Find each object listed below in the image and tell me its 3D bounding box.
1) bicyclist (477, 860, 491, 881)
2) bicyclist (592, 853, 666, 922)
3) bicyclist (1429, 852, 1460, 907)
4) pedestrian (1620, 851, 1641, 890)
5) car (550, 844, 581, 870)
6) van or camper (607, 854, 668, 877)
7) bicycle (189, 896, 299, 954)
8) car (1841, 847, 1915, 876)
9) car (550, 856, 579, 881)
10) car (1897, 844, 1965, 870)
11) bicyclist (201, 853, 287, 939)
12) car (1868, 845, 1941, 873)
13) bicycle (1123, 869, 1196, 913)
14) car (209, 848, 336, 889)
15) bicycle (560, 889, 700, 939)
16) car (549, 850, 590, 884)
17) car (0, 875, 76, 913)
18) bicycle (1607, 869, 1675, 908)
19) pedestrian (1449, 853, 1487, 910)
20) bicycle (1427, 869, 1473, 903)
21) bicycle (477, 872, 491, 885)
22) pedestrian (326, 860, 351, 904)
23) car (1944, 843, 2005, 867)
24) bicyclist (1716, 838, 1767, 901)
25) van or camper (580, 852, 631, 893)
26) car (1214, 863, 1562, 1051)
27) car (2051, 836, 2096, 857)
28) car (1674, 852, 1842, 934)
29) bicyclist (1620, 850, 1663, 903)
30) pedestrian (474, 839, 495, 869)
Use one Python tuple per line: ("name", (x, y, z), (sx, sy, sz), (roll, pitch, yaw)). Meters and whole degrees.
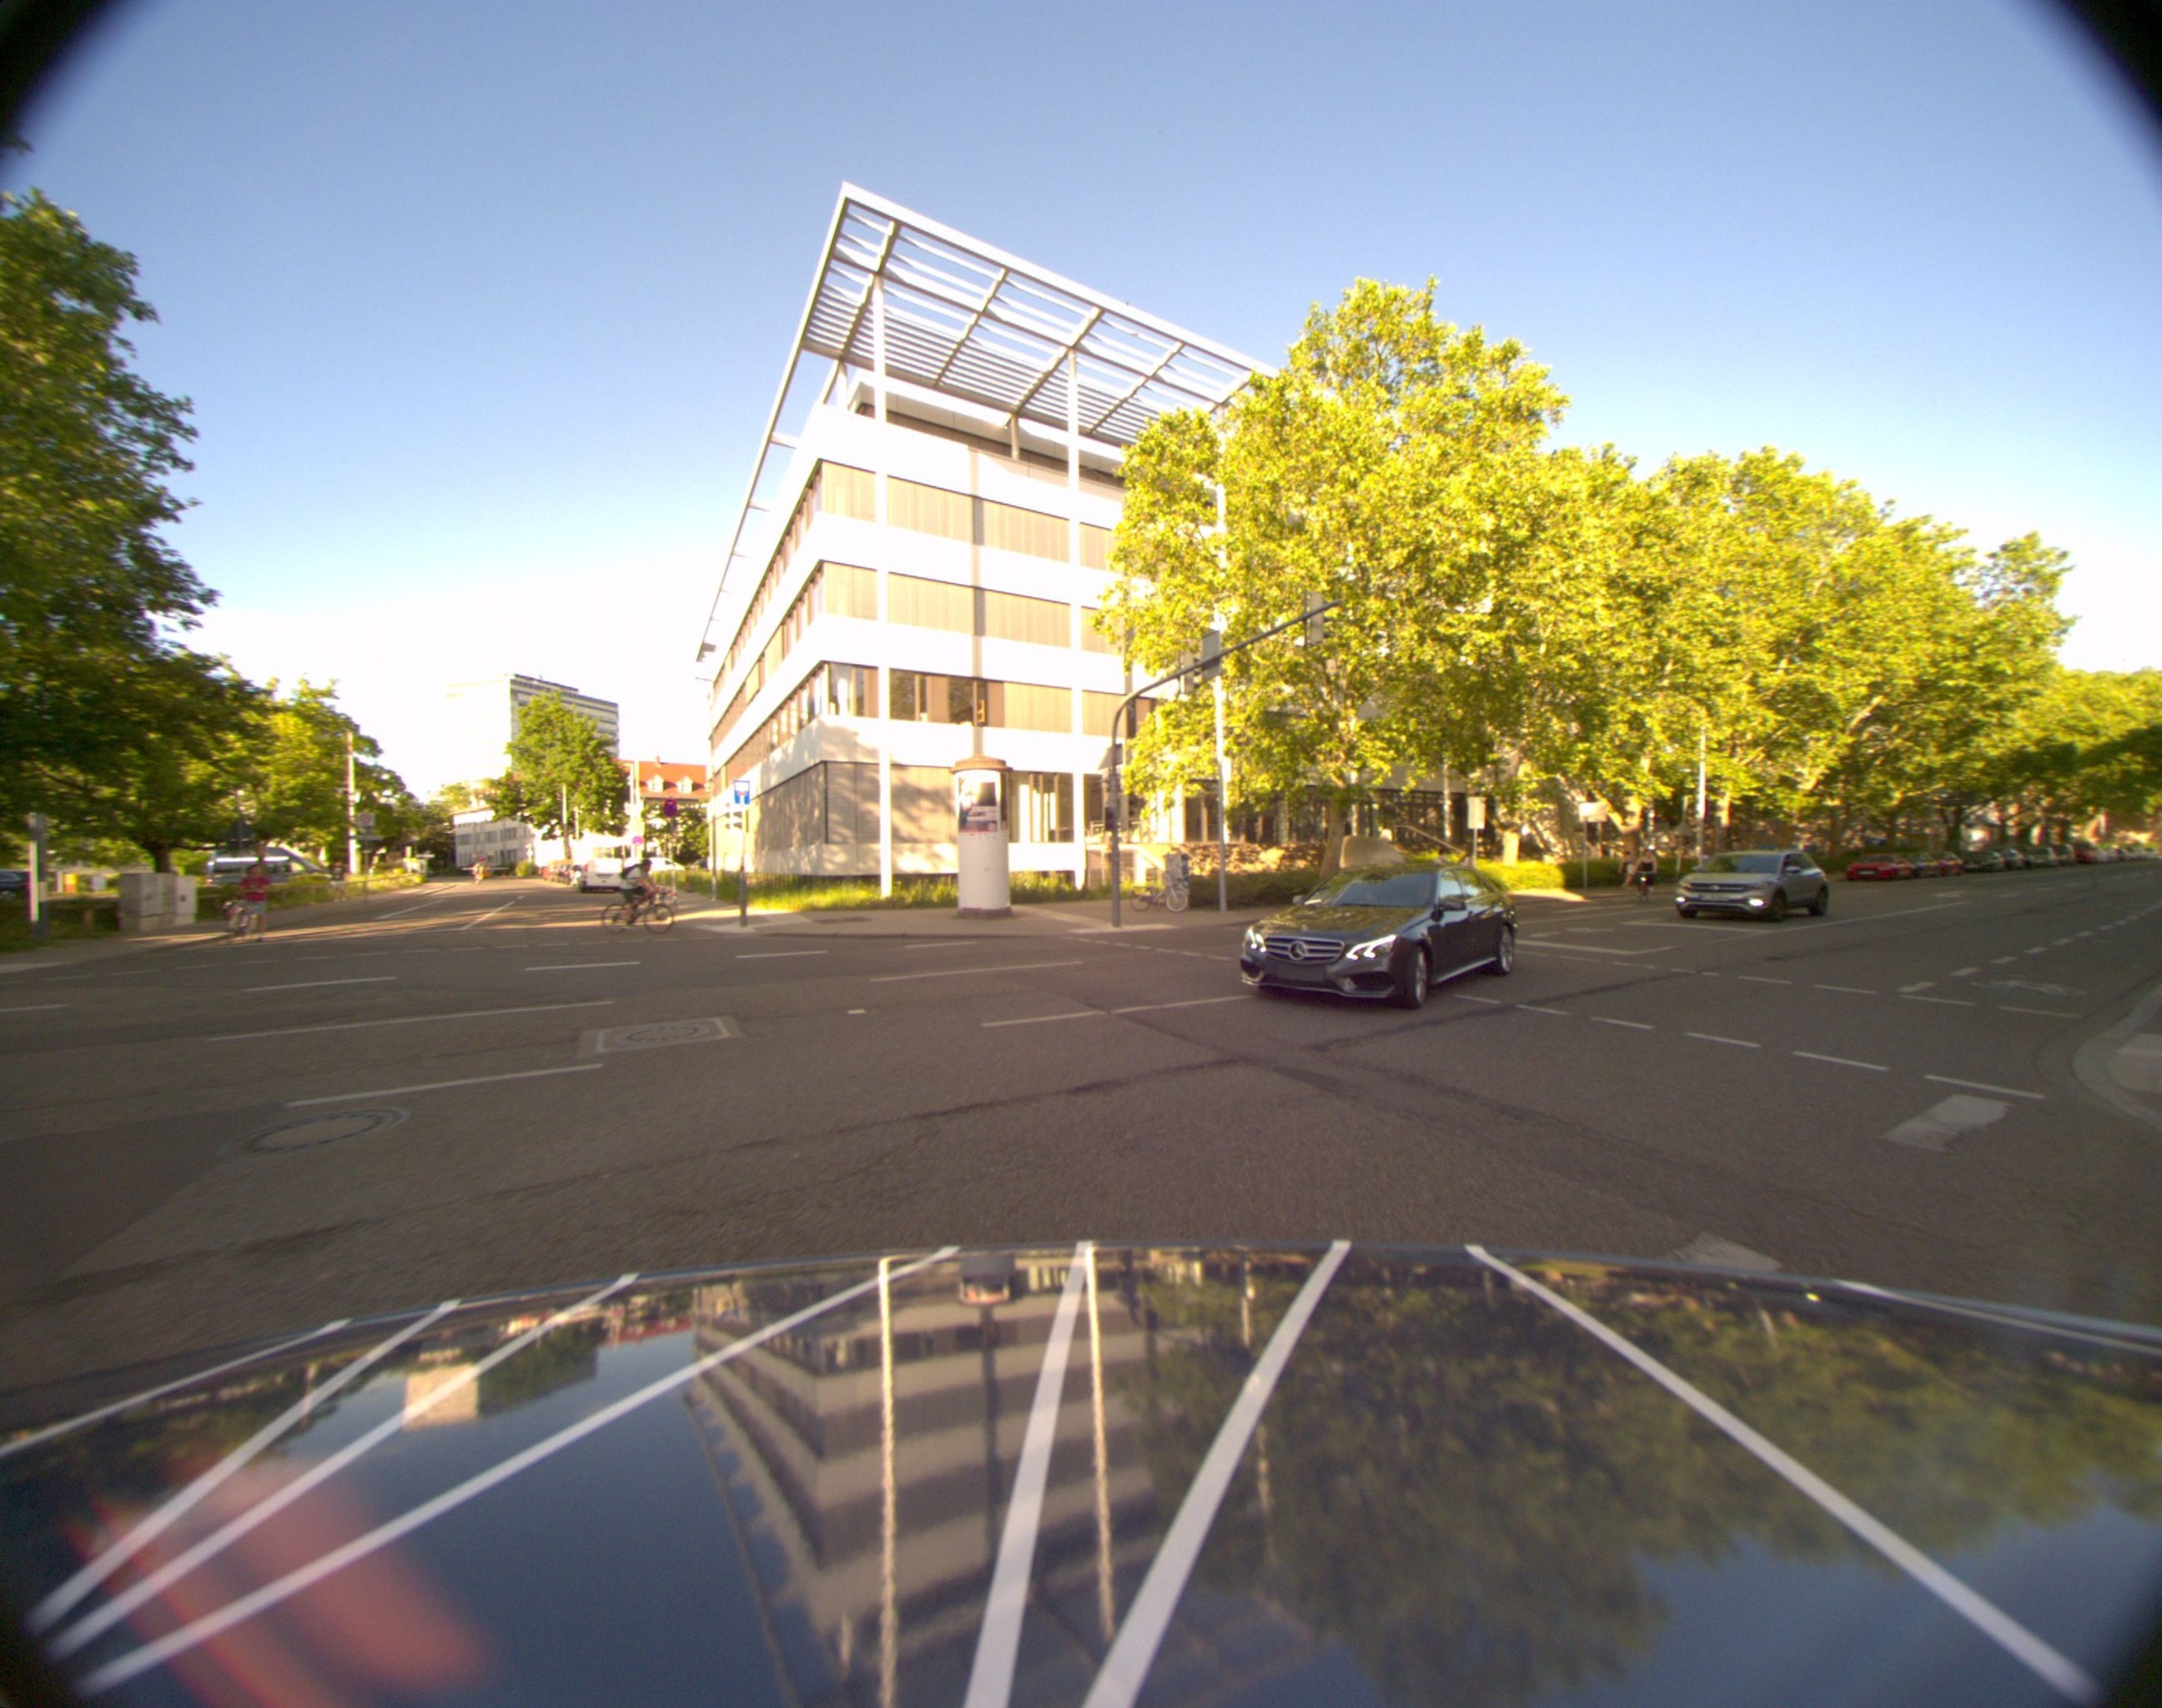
("bicyclist", (-45.390, 1.224, 57.762), (0.763, 1.583, 0.899), (-2, 1, -37))
("bicyclist", (-10.443, 0.751, 17.593), (1.125, 1.537, 0.953), (1, 1, 1))
("bicyclist", (11.707, 0.799, 24.495), (0.656, 1.704, 0.633), (-4, 3, -32))
("pedestrian", (22.707, 0.680, 31.381), (0.684, 1.584, 0.462), (-2, 1, -32))
("car", (-41.998, 0.232, 61.900), (2.003, 2.002, 3.990), (-2, 1, -34))
("van or camper", (-42.923, 1.099, 73.565), (4.741, 2.075, 1.994), (-2, 1, -43))
("bicycle", (-18.634, 1.535, 17.015), (0.944, 1.032, 2.998), (-2, 0, -34))
("car", (41.754, 0.371, 39.801), (4.083, 1.435, 1.895), (-1, 0, -32))
("car", (-44.546, 1.234, 65.556), (2.003, 2.001, 3.991), (-2, -1, -34))
("car", (50.496, 0.187, 45.128), (4.083, 1.443, 1.895), (-1, 0, -30))
("bicyclist", (-18.542, 0.903, 16.876), (0.979, 1.797, 1.129), (-2, 1, -33))
("car", (45.800, 0.244, 42.243), (4.083, 1.439, 1.895), (-1, 0, -30))
("bicycle", (2.205, 1.032, 21.372), (1.988, 1.175, 0.471), (-1, 1, 29))
("car", (-45.333, 0.783, 42.791), (4.575, 2.101, 1.995), (-2, 1, -38))
("bicycle", (-10.407, 1.380, 17.620), (2.658, 1.046, 0.982), (1, 1, 0))
("car", (-32.516, 0.821, 48.335), (2.003, 2.002, 3.990), (-2, 1, -34))
("car", (-53.833, 2.006, 37.866), (4.006, 1.769, 1.995), (-2, 1, -31))
("bicycle", (18.073, 1.096, 24.505), (2.820, 1.129, 0.769), (-1, -1, -33))
("pedestrian", (12.100, 0.837, 23.760), (0.693, 1.710, 0.774), (-4, 2, -32))
("bicycle", (12.034, 1.024, 24.778), (1.650, 1.029, 0.521), (-2, 1, -32))
("bicycle", (-45.342, 1.831, 57.735), (0.763, 0.944, 3.049), (-2, 1, -36))
("pedestrian", (-31.456, 1.170, 32.214), (0.669, 1.844, 1.023), (-2, 1, -42))
("car", (58.626, 0.054, 49.856), (4.083, 1.443, 1.895), (-1, 0, -30))
("bicyclist", (19.019, 0.428, 21.898), (0.902, 1.724, 0.768), (-2, 5, -32))
("van or camper", (-25.499, 0.923, 40.710), (2.166, 2.002, 4.964), (-1, 1, -33))
("car", (3.852, 0.960, 9.068), (4.727, 1.460, 1.795), (-3, 3, -39))
("car", (87.260, -0.672, 66.816), (4.083, 1.807, 1.895), (-1, 0, -30))
("car", (15.534, 0.807, 17.392), (4.006, 1.594, 1.744), (-1, 1, -31))
("bicyclist", (18.086, 0.717, 24.524), (0.897, 1.669, 0.769), (-2, -1, -32))
("pedestrian", (-66.373, -0.044, 84.538), (1.402, 3.289, 1.462), (-1, 1, 39))
